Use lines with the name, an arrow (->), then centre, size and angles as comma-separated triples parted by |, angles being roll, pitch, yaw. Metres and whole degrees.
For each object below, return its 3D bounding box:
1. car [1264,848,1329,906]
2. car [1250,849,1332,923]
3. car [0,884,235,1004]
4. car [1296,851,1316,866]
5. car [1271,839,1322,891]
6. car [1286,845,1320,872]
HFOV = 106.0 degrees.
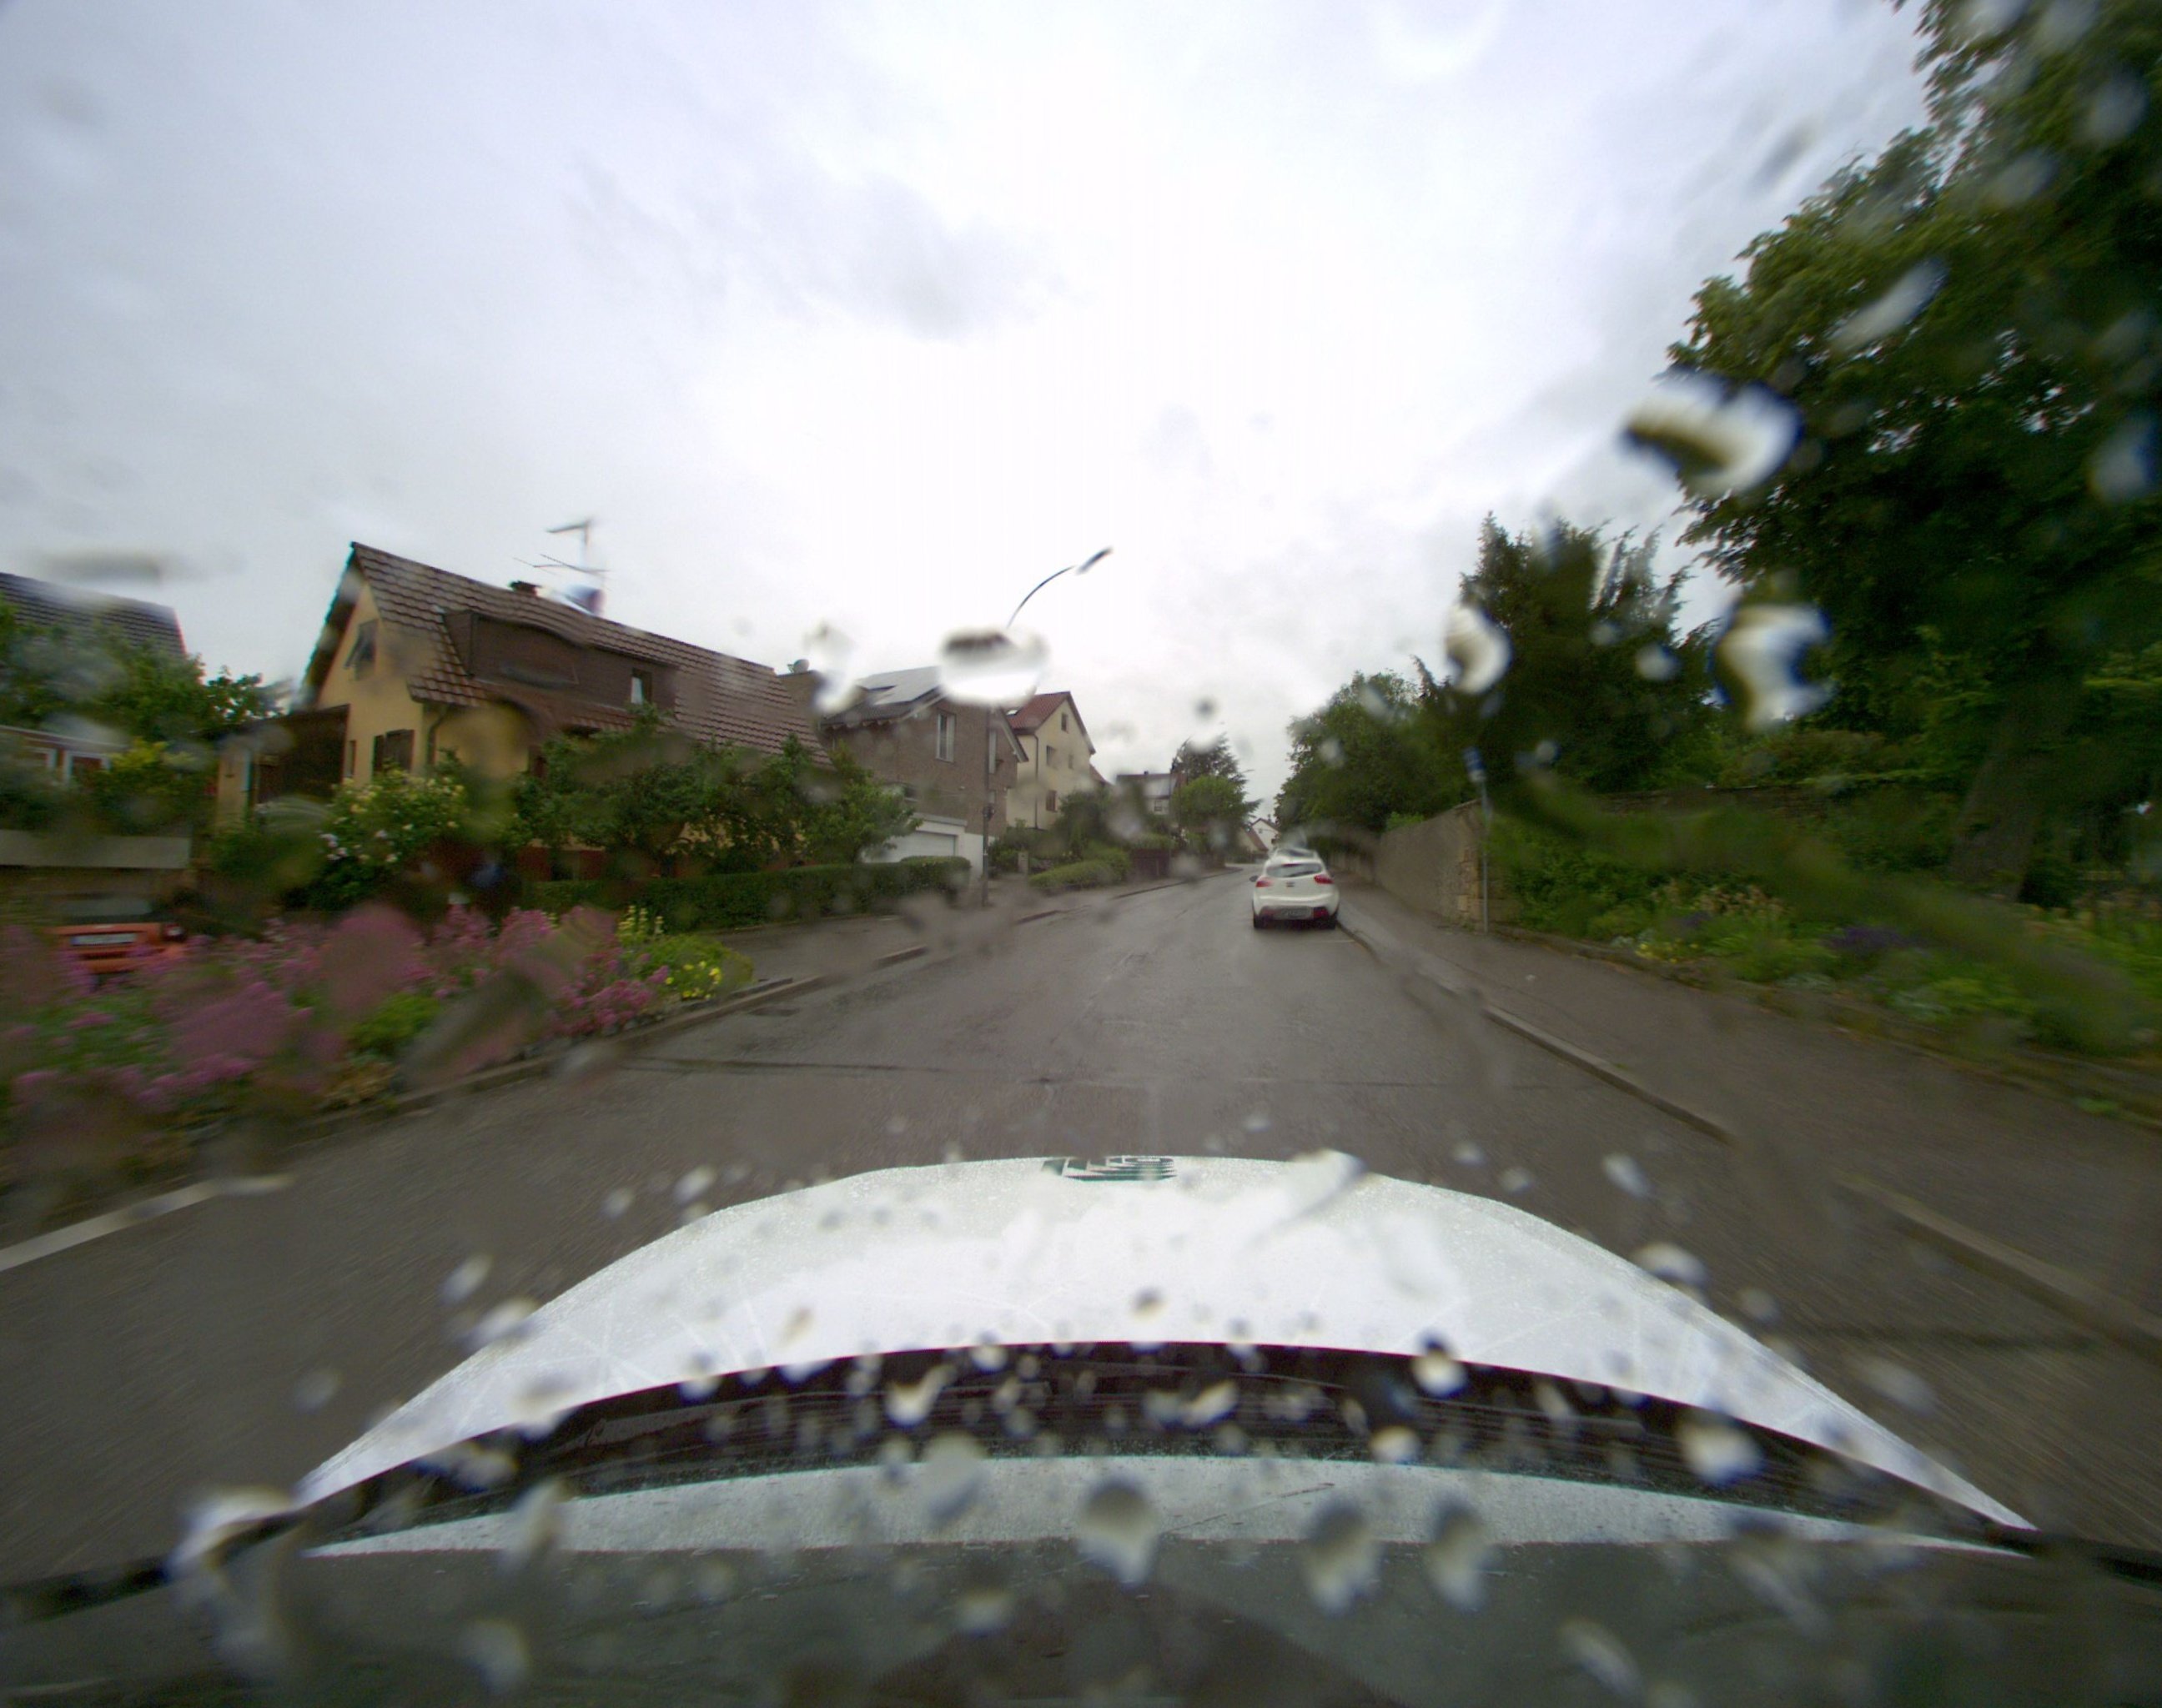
car -> 6.166, 0.581, 23.197 | 1.633, 1.462, 4.017 | 0, 1, 15
car -> 4.724, 0.652, 18.417 | 1.600, 1.480, 4.053 | 0, 0, 14
car -> -14.208, 1.162, 11.723 | 3.949, 1.383, 1.875 | -1, 0, 29
car -> 20.811, 0.409, 75.434 | 1.640, 1.371, 4.197 | -1, 0, 14
car -> 7.764, 0.380, 29.086 | 1.624, 1.741, 4.153 | -1, 0, 16
car -> 13.688, 0.272, 50.086 | 1.800, 1.573, 3.897 | -1, -1, 17
